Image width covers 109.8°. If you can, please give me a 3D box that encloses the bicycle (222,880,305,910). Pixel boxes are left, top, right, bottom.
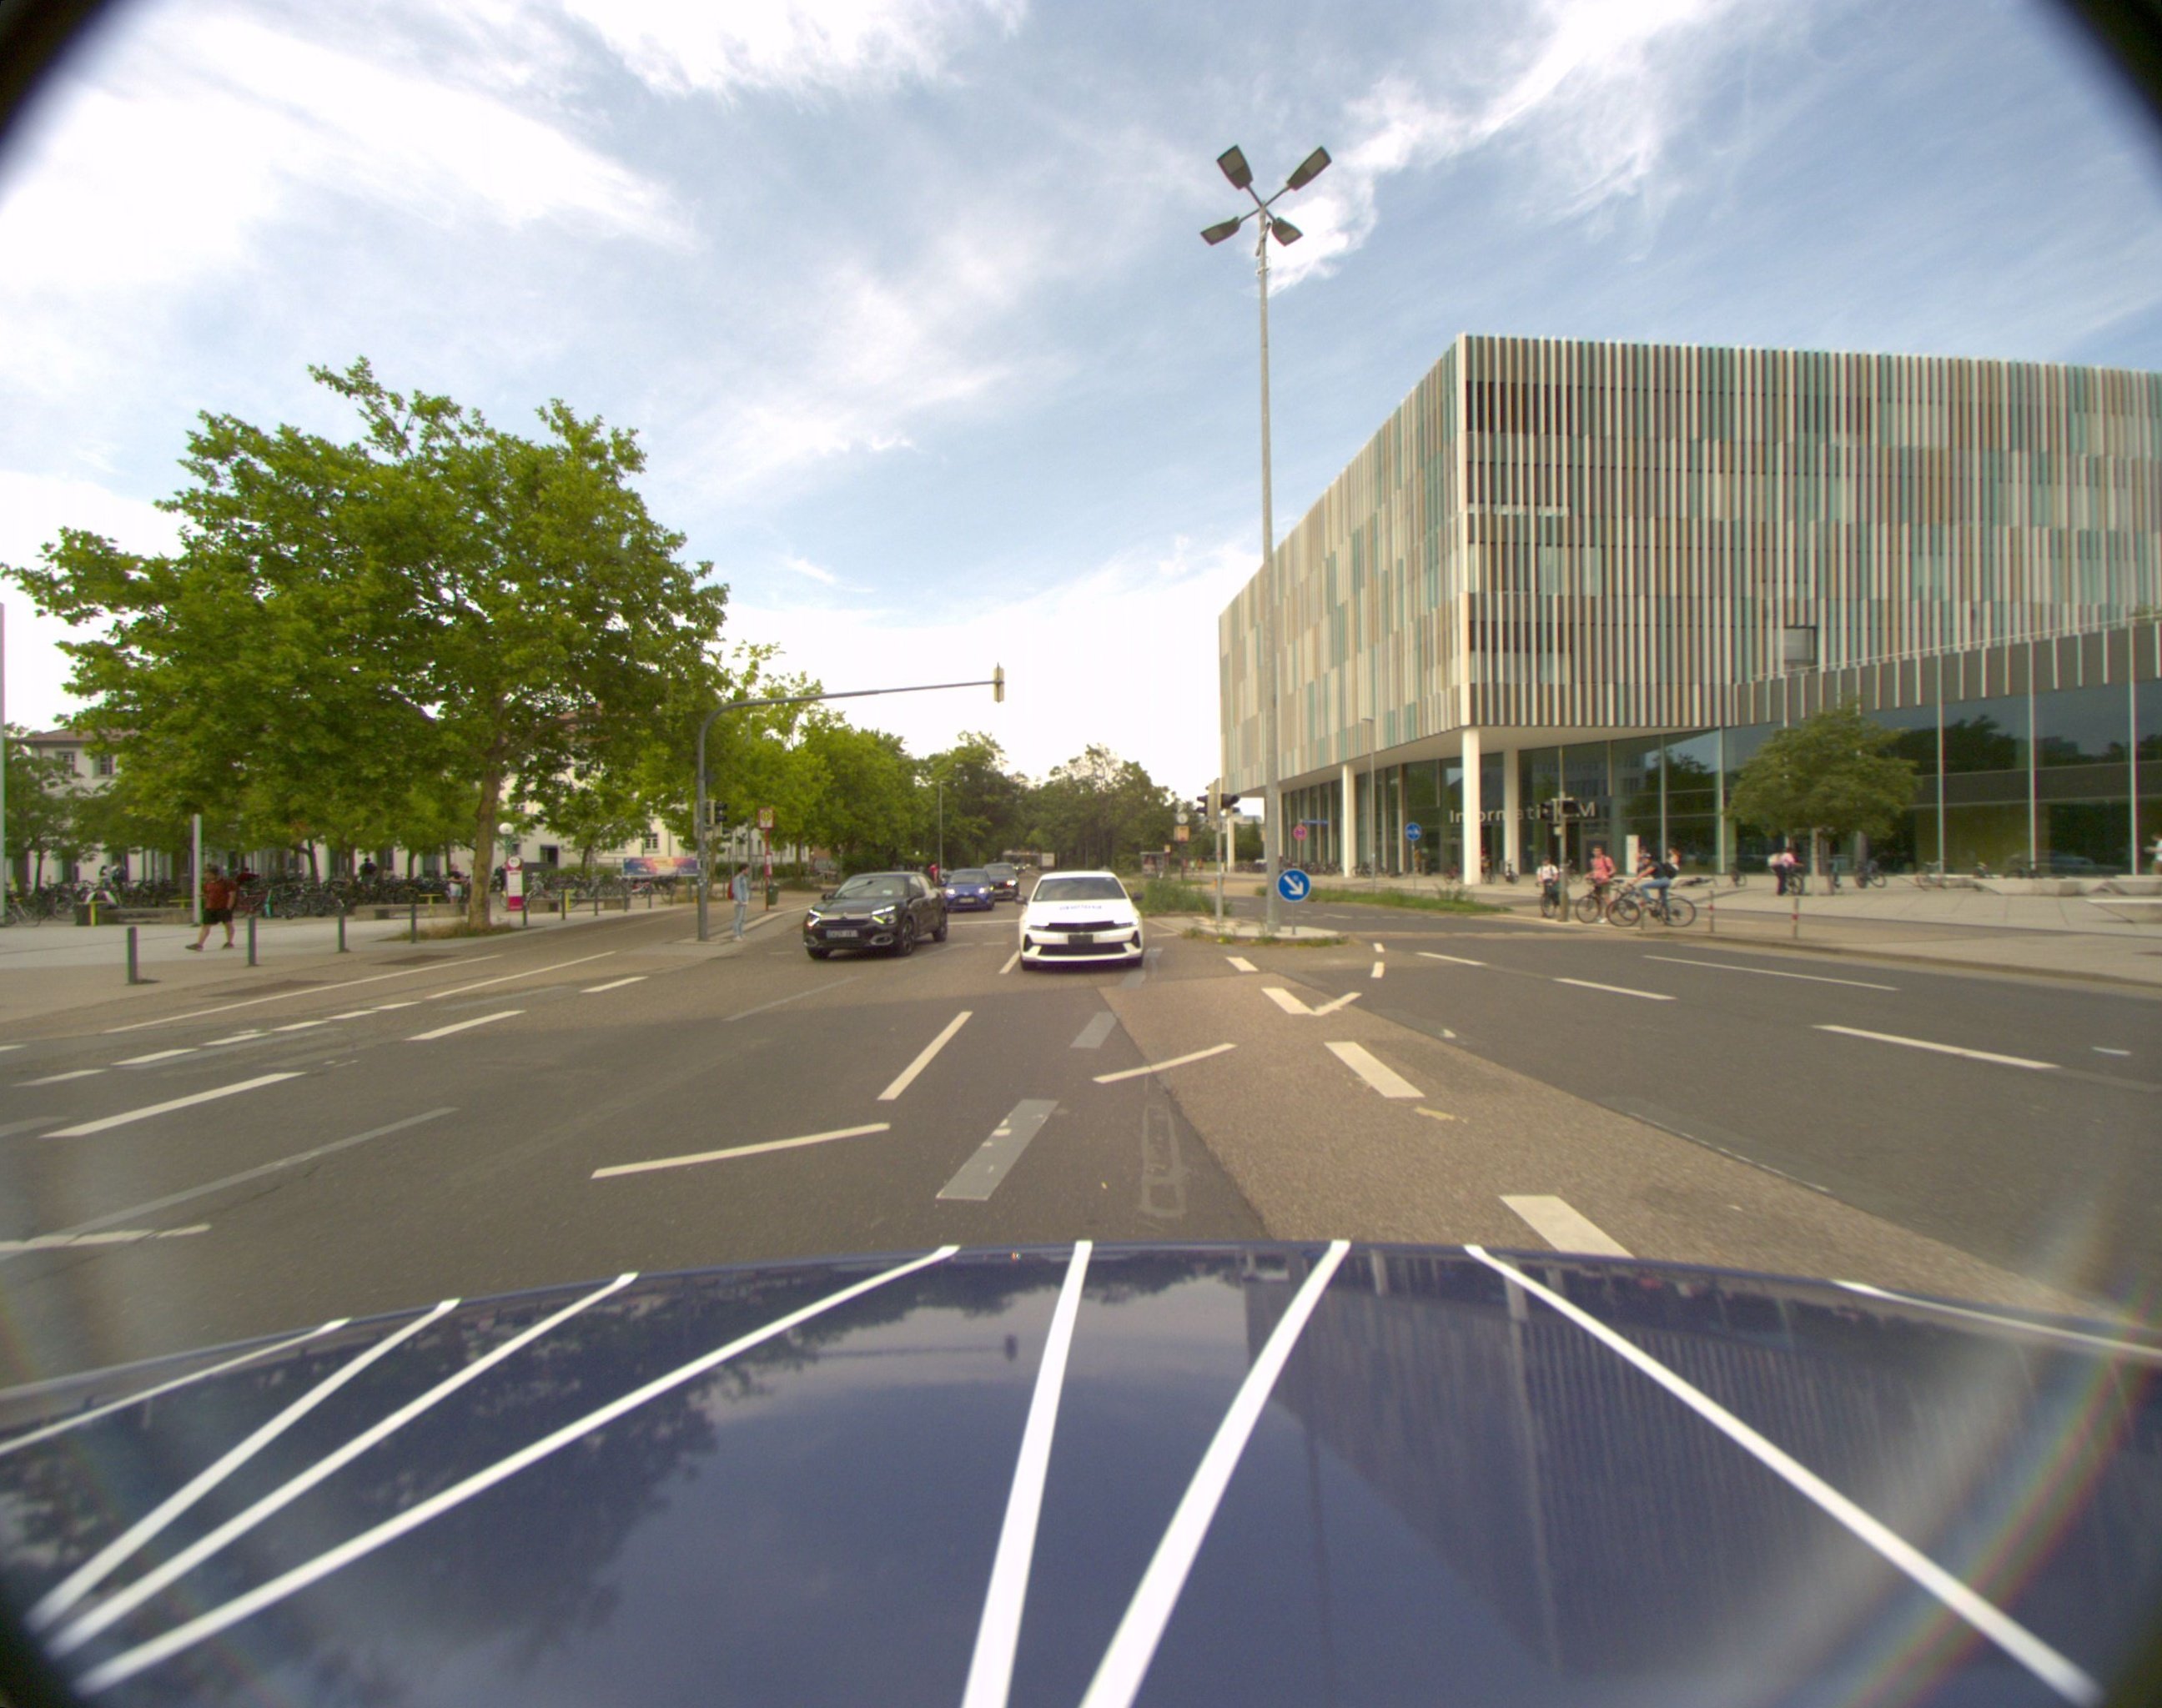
[{"bbox_3d":[-33.496,1.672,31.167,2.473,1.136,0.717,-1,0,-3],"label":"bicycle"}]

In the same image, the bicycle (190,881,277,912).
[{"bbox_3d":[-33.418,1.675,29.972,2.473,1.136,0.717,-1,0,-3],"label":"bicycle"}]

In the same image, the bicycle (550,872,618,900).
[{"bbox_3d":[-22.092,1.421,33.785,2.473,1.136,0.717,-1,0,-3],"label":"bicycle"}]

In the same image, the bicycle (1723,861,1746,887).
[{"bbox_3d":[26.685,0.798,31.041,0.622,0.979,2.255,-1,0,38],"label":"bicycle"}]

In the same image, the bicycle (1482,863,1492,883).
[{"bbox_3d":[20.645,0.965,38.585,0.393,0.932,1.601,-3,0,29],"label":"bicycle"}]

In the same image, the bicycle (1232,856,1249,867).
[{"bbox_3d":[16.748,0.816,79.813,1.704,1.017,0.434,-3,1,-10],"label":"bicycle"}]

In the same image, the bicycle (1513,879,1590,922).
[{"bbox_3d":[12.595,1.230,20.341,1.824,0.983,0.727,-3,1,-18],"label":"bicycle"}]

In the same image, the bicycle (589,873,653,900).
[{"bbox_3d":[-21.526,1.517,35.562,2.473,1.136,0.717,-1,0,-3],"label":"bicycle"}]

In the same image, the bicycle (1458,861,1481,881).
[{"bbox_3d":[20.492,0.882,40.089,1.601,0.932,0.393,-3,1,-38],"label":"bicycle"}]

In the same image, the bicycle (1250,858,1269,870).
[{"bbox_3d":[17.168,0.950,72.986,1.704,1.017,0.434,-3,1,-10],"label":"bicycle"}]

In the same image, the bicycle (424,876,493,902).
[{"bbox_3d":[-28.532,1.598,34.828,2.473,1.136,0.717,-1,0,-3],"label":"bicycle"}]

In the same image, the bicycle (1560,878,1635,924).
[{"bbox_3d":[12.602,1.125,18.543,1.693,0.983,0.571,-3,1,-18],"label":"bicycle"}]

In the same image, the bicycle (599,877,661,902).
[{"bbox_3d":[-21.625,1.692,36.462,2.473,1.136,0.717,-1,0,-3],"label":"bicycle"}]

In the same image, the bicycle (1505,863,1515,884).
[{"bbox_3d":[21.405,0.964,37.894,0.393,0.932,1.601,-3,0,29],"label":"bicycle"}]

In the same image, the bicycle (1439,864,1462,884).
[{"bbox_3d":[19.612,1.059,40.327,1.613,0.932,0.393,-3,1,-38],"label":"bicycle"}]

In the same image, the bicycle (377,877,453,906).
[{"bbox_3d":[-28.384,1.602,32.401,2.473,1.136,0.717,-1,0,-3],"label":"bicycle"}]

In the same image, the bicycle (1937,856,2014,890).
[{"bbox_3d":[30.562,0.630,25.965,2.685,1.083,0.796,-1,0,-20],"label":"bicycle"}]

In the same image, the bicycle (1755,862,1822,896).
[{"bbox_3d":[22.195,0.762,23.875,0.440,0.993,1.748,-1,0,-2],"label":"bicycle"}]

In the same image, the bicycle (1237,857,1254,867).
[{"bbox_3d":[16.963,0.816,78.344,1.704,1.017,0.434,-3,1,-10],"label":"bicycle"}]

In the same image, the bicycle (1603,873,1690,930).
[{"bbox_3d":[12.755,1.048,17.129,1.897,1.163,0.606,-1,0,-20],"label":"bicycle"}]

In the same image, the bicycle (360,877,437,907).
[{"bbox_3d":[-28.337,1.568,31.571,2.473,1.136,0.717,-1,0,-3],"label":"bicycle"}]

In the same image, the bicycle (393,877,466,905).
[{"bbox_3d":[-28.423,1.599,33.184,2.473,1.136,0.717,-1,0,-3],"label":"bicycle"}]

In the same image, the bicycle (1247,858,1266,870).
[{"bbox_3d":[17.075,0.954,73.833,1.704,1.017,0.434,-3,1,-10],"label":"bicycle"}]

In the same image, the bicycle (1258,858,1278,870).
[{"bbox_3d":[17.573,0.934,71.374,1.704,1.017,0.389,-3,1,-10],"label":"bicycle"}]

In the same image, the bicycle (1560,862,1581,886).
[{"bbox_3d":[22.990,0.931,35.671,1.549,1.023,0.393,-3,1,-42],"label":"bicycle"}]

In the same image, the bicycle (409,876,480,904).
[{"bbox_3d":[-28.482,1.601,34.018,2.473,1.136,0.717,-1,0,-3],"label":"bicycle"}]

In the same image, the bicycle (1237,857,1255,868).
[{"bbox_3d":[16.867,0.824,77.456,1.704,1.017,0.434,-3,1,-10],"label":"bicycle"}]

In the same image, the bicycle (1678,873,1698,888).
[{"bbox_3d":[25.479,1.101,31.929,0.622,0.518,2.255,-1,0,38],"label":"bicycle"}]

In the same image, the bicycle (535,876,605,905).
[{"bbox_3d":[-22.055,1.565,32.807,2.473,1.136,0.717,-1,0,-3],"label":"bicycle"}]

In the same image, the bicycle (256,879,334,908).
[{"bbox_3d":[-33.593,1.669,32.485,2.473,1.136,0.717,-1,0,-3],"label":"bicycle"}]

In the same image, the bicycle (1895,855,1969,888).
[{"bbox_3d":[30.353,0.605,27.108,2.685,1.083,0.796,-1,0,-20],"label":"bicycle"}]

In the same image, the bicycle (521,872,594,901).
[{"bbox_3d":[-22.012,1.377,31.987,2.473,1.136,0.717,-1,0,-3],"label":"bicycle"}]

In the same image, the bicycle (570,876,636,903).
[{"bbox_3d":[-21.786,1.614,34.648,2.473,1.136,0.717,-1,0,-3],"label":"bicycle"}]

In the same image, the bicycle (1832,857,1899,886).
[{"bbox_3d":[29.306,0.650,28.377,2.685,0.993,0.672,-1,0,-20],"label":"bicycle"}]
